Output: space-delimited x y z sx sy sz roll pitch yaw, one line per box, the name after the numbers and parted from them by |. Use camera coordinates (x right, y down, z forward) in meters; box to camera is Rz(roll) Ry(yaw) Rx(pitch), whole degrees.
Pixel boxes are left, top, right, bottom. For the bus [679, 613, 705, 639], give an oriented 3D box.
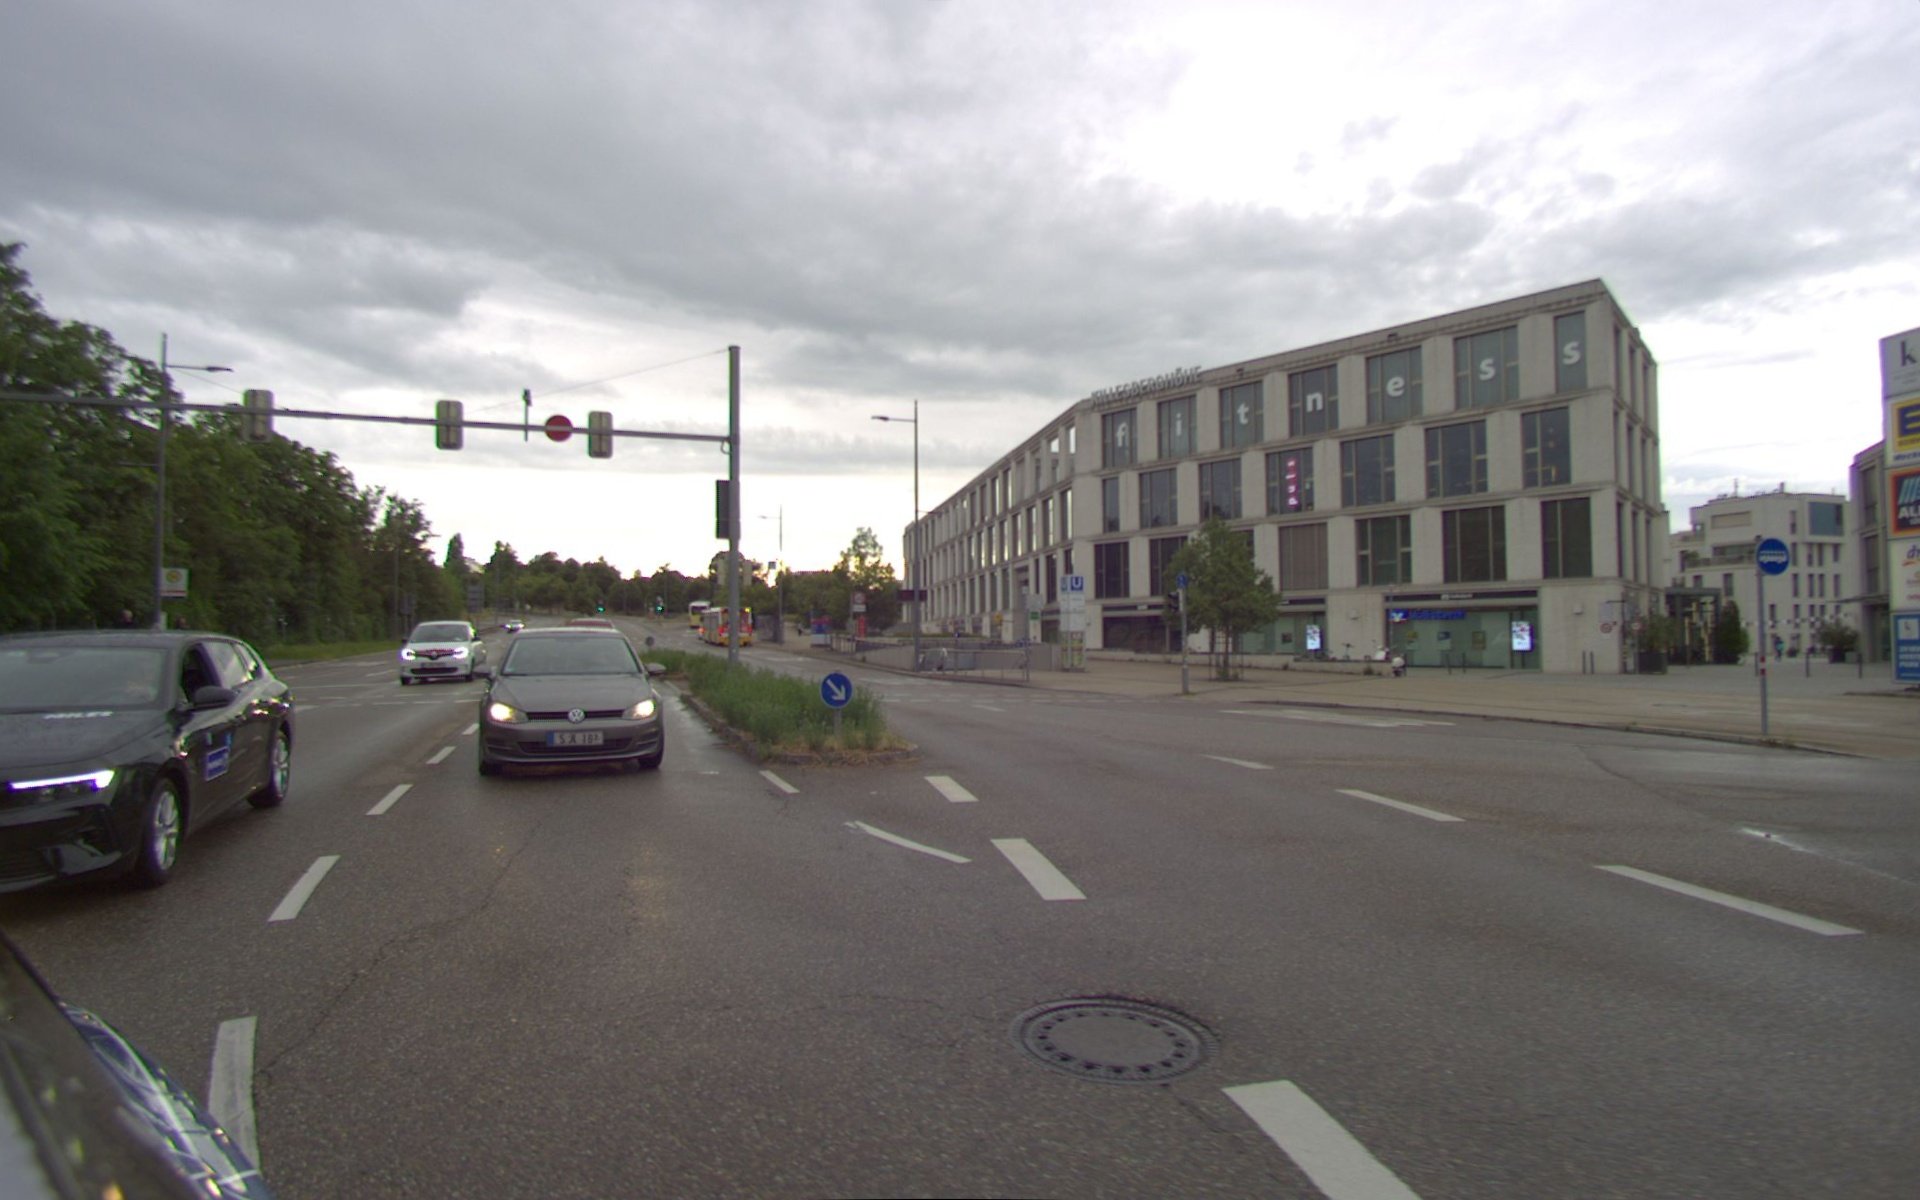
-36.721 3.614 138.491 2.769 3.543 9.171 1 -2 -19 | bus

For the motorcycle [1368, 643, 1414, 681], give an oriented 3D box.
16.266 2.324 38.183 1.725 1.413 0.530 0 -2 -25 | motorcycle

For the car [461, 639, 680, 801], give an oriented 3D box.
-4.339 1.166 11.297 1.873 1.450 4.013 1 -3 -22 | car

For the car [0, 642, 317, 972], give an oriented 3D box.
-5.761 1.065 6.675 1.774 1.441 4.534 0 -1 -22 | car

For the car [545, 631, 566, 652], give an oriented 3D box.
-40.244 4.113 100.679 1.965 2.029 4.013 0 -2 -22 | car

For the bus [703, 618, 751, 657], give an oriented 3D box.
-19.087 3.006 82.427 2.832 3.012 10.036 1 -2 -19 | bus

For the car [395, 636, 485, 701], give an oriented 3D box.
-13.440 1.717 26.339 1.618 1.532 3.590 0 -2 -19 | car

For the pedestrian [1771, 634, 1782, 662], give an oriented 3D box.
55.388 3.269 68.634 0.480 1.859 0.462 2 -3 -43 | pedestrian

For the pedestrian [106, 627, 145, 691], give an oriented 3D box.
-25.286 1.774 30.665 0.666 1.898 0.702 1 -2 -19 | pedestrian

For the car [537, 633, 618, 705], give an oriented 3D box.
-9.059 1.556 23.862 1.642 1.541 3.669 1 -2 -22 | car

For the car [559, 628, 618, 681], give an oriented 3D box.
-13.456 1.939 36.728 1.874 1.785 4.012 1 -2 -19 | car

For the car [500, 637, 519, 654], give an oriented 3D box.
-53.783 5.458 120.814 1.965 2.029 4.013 2 -3 -25 | car

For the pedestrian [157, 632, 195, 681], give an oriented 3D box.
-27.705 1.980 35.783 0.808 1.688 0.834 1 -2 -19 | pedestrian

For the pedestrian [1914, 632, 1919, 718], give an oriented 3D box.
19.361 1.475 19.789 0.744 1.699 0.678 -1 -2 13 | pedestrian
